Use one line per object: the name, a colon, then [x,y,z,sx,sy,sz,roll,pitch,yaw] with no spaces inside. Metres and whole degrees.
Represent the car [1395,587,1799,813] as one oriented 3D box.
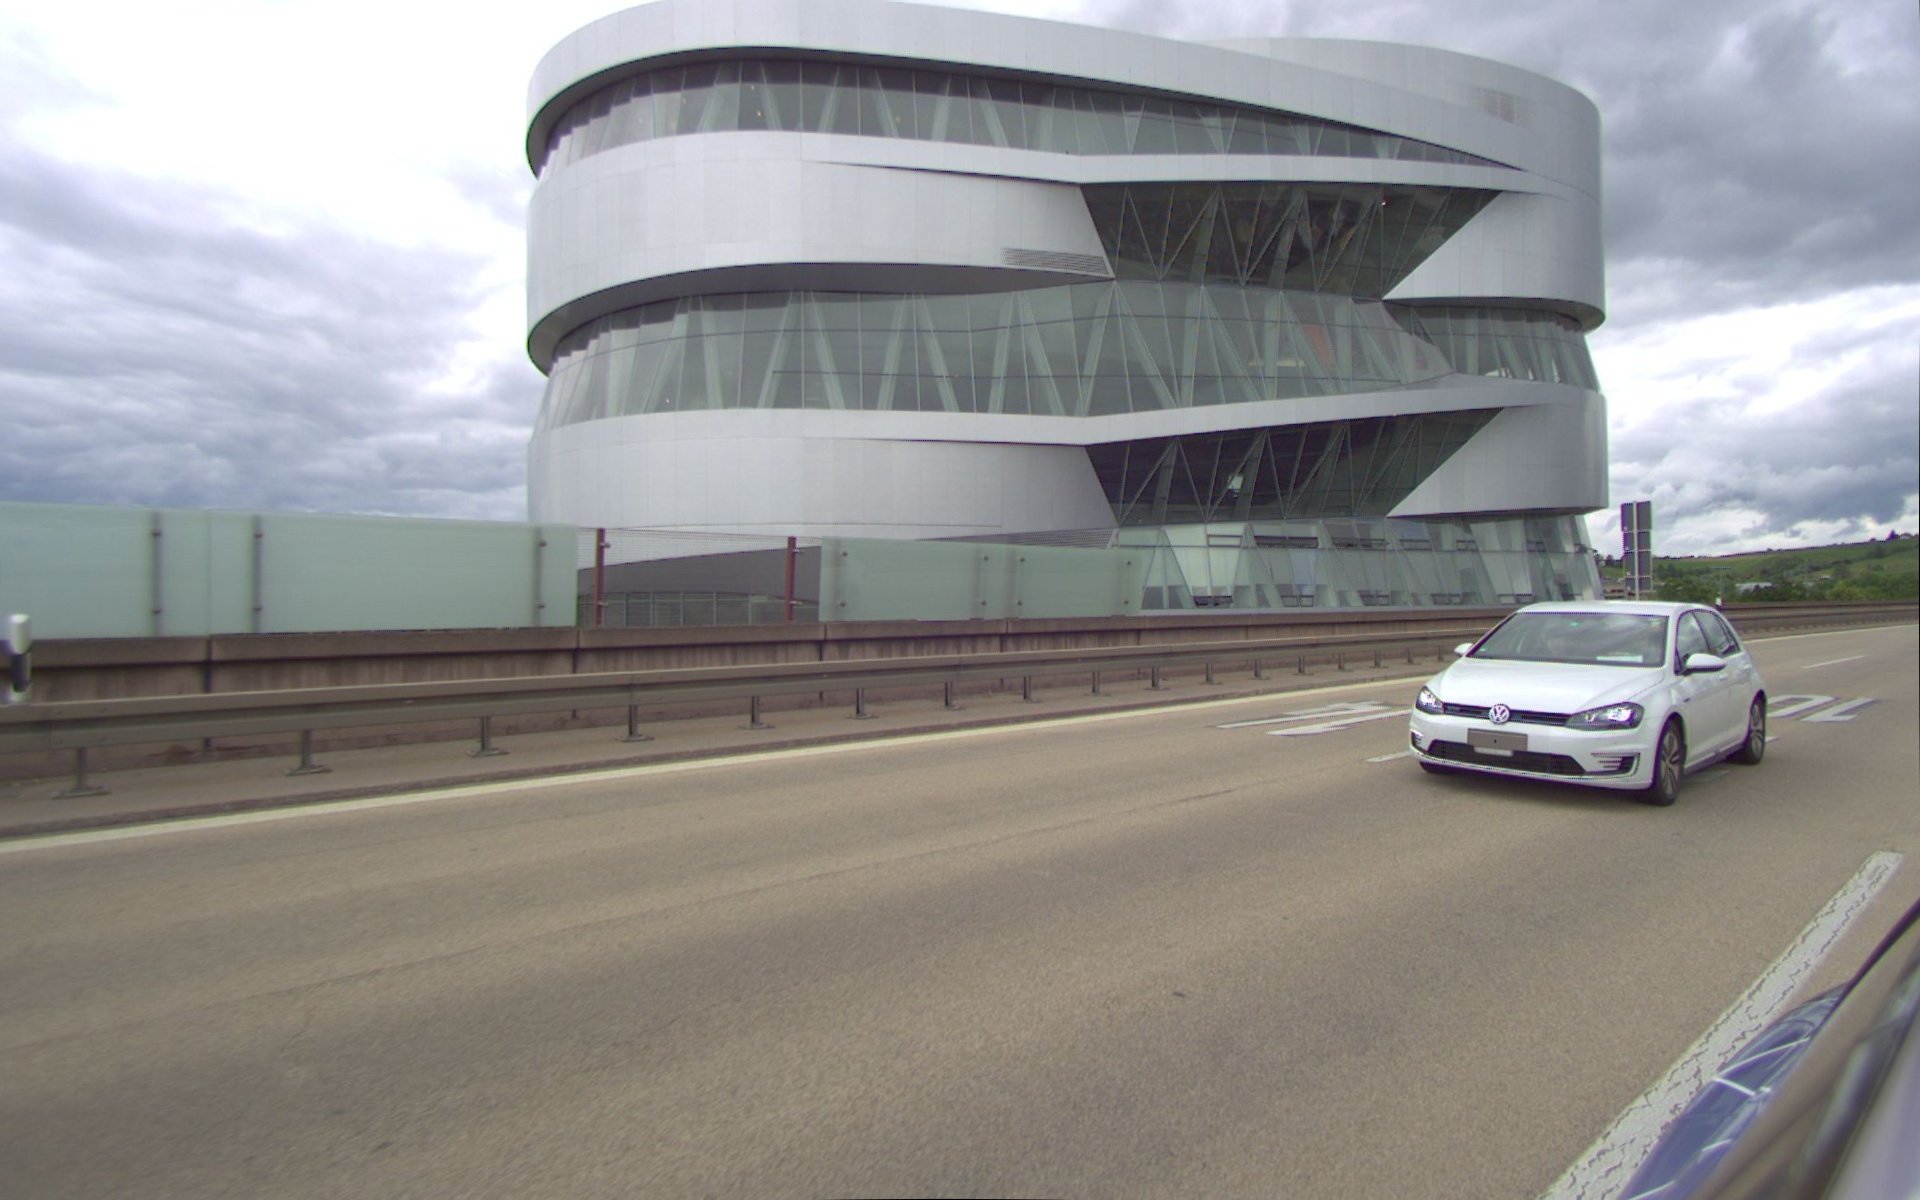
car: [5.527,0.635,8.585,4.000,1.470,1.758,0,1,-40]
